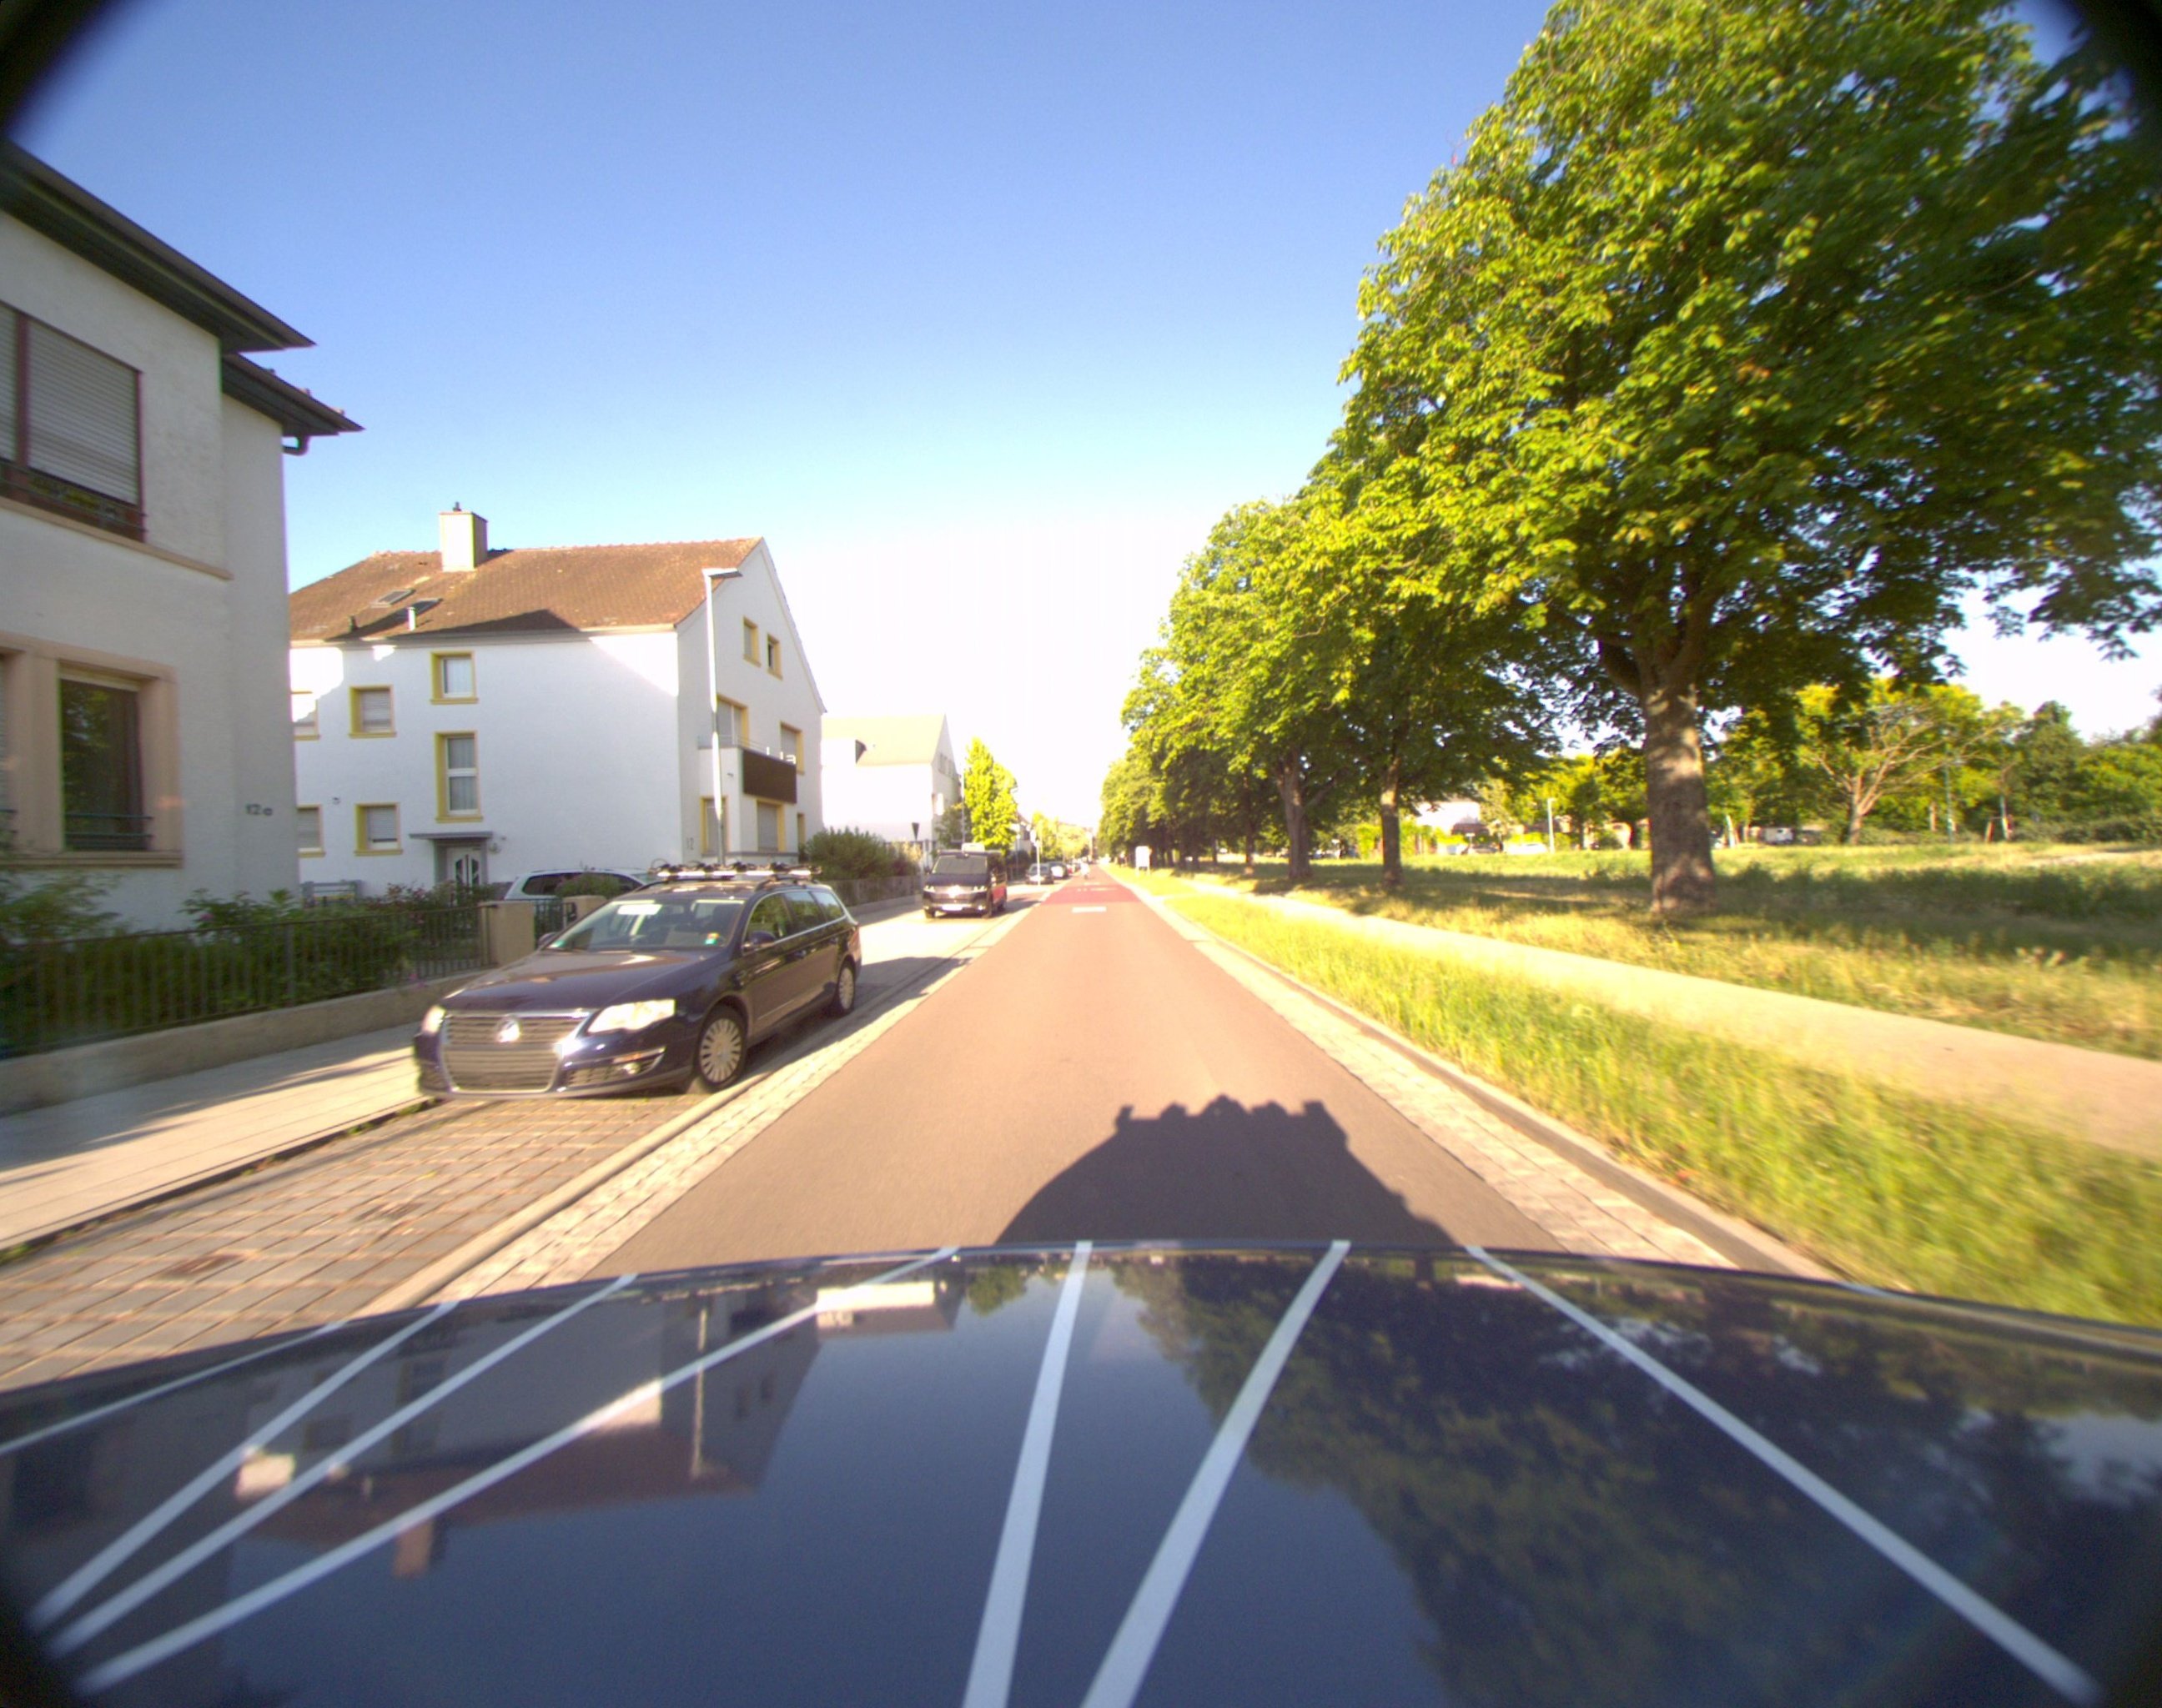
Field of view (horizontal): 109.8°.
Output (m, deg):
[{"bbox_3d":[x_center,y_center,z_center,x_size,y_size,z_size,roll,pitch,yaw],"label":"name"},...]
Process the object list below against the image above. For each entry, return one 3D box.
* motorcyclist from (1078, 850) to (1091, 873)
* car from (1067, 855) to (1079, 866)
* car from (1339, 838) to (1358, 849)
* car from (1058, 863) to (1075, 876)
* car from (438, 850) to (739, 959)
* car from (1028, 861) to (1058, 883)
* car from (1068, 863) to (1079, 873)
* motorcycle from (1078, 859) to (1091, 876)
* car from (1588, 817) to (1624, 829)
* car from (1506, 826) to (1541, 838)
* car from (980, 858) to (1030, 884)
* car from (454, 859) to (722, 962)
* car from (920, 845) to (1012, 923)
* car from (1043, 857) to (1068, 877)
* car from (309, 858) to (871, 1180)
[{"bbox_3d":[0.294,0.647,66.730,0.961,2.002,1.274,-4,1,0],"label":"motorcyclist"},{"bbox_3d":[-1.125,0.917,110.253,1.508,1.471,3.493,-1,0,2],"label":"car"},{"bbox_3d":[38.571,-1.478,109.605,1.585,1.473,3.639,-4,1,2],"label":"car"},{"bbox_3d":[-1.913,1.997,101.033,1.910,1.698,4.576,-1,0,3],"label":"car"},{"bbox_3d":[-8.872,0.862,14.008,4.228,1.716,1.852,-2,1,-2],"label":"car"},{"bbox_3d":[-2.628,1.219,53.131,1.798,1.473,4.124,0,-1,2],"label":"car"},{"bbox_3d":[-1.165,2.219,120.723,1.745,1.471,4.056,-3,0,0],"label":"car"},{"bbox_3d":[0.294,1.148,66.722,1.077,1.373,2.463,-4,1,0],"label":"motorcycle"},{"bbox_3d":[69.431,-4.132,100.510,3.636,1.273,1.586,-4,1,2],"label":"car"},{"bbox_3d":[58.278,-2.882,100.075,3.636,1.273,1.586,-4,1,2],"label":"car"},{"bbox_3d":[-6.348,1.438,63.803,3.994,1.834,1.815,-4,-1,-4],"label":"car"},{"bbox_3d":[-10.129,1.109,15.886,4.228,1.716,1.852,-4,1,-2],"label":"car"},{"bbox_3d":[-3.357,0.813,23.152,1.910,2.119,4.815,-1,0,2],"label":"car"},{"bbox_3d":[-2.232,1.155,68.270,1.910,1.698,4.576,-1,0,3],"label":"car"},{"bbox_3d":[-3.353,0.933,6.463,1.798,1.761,4.472,-1,0,1],"label":"car"}]
